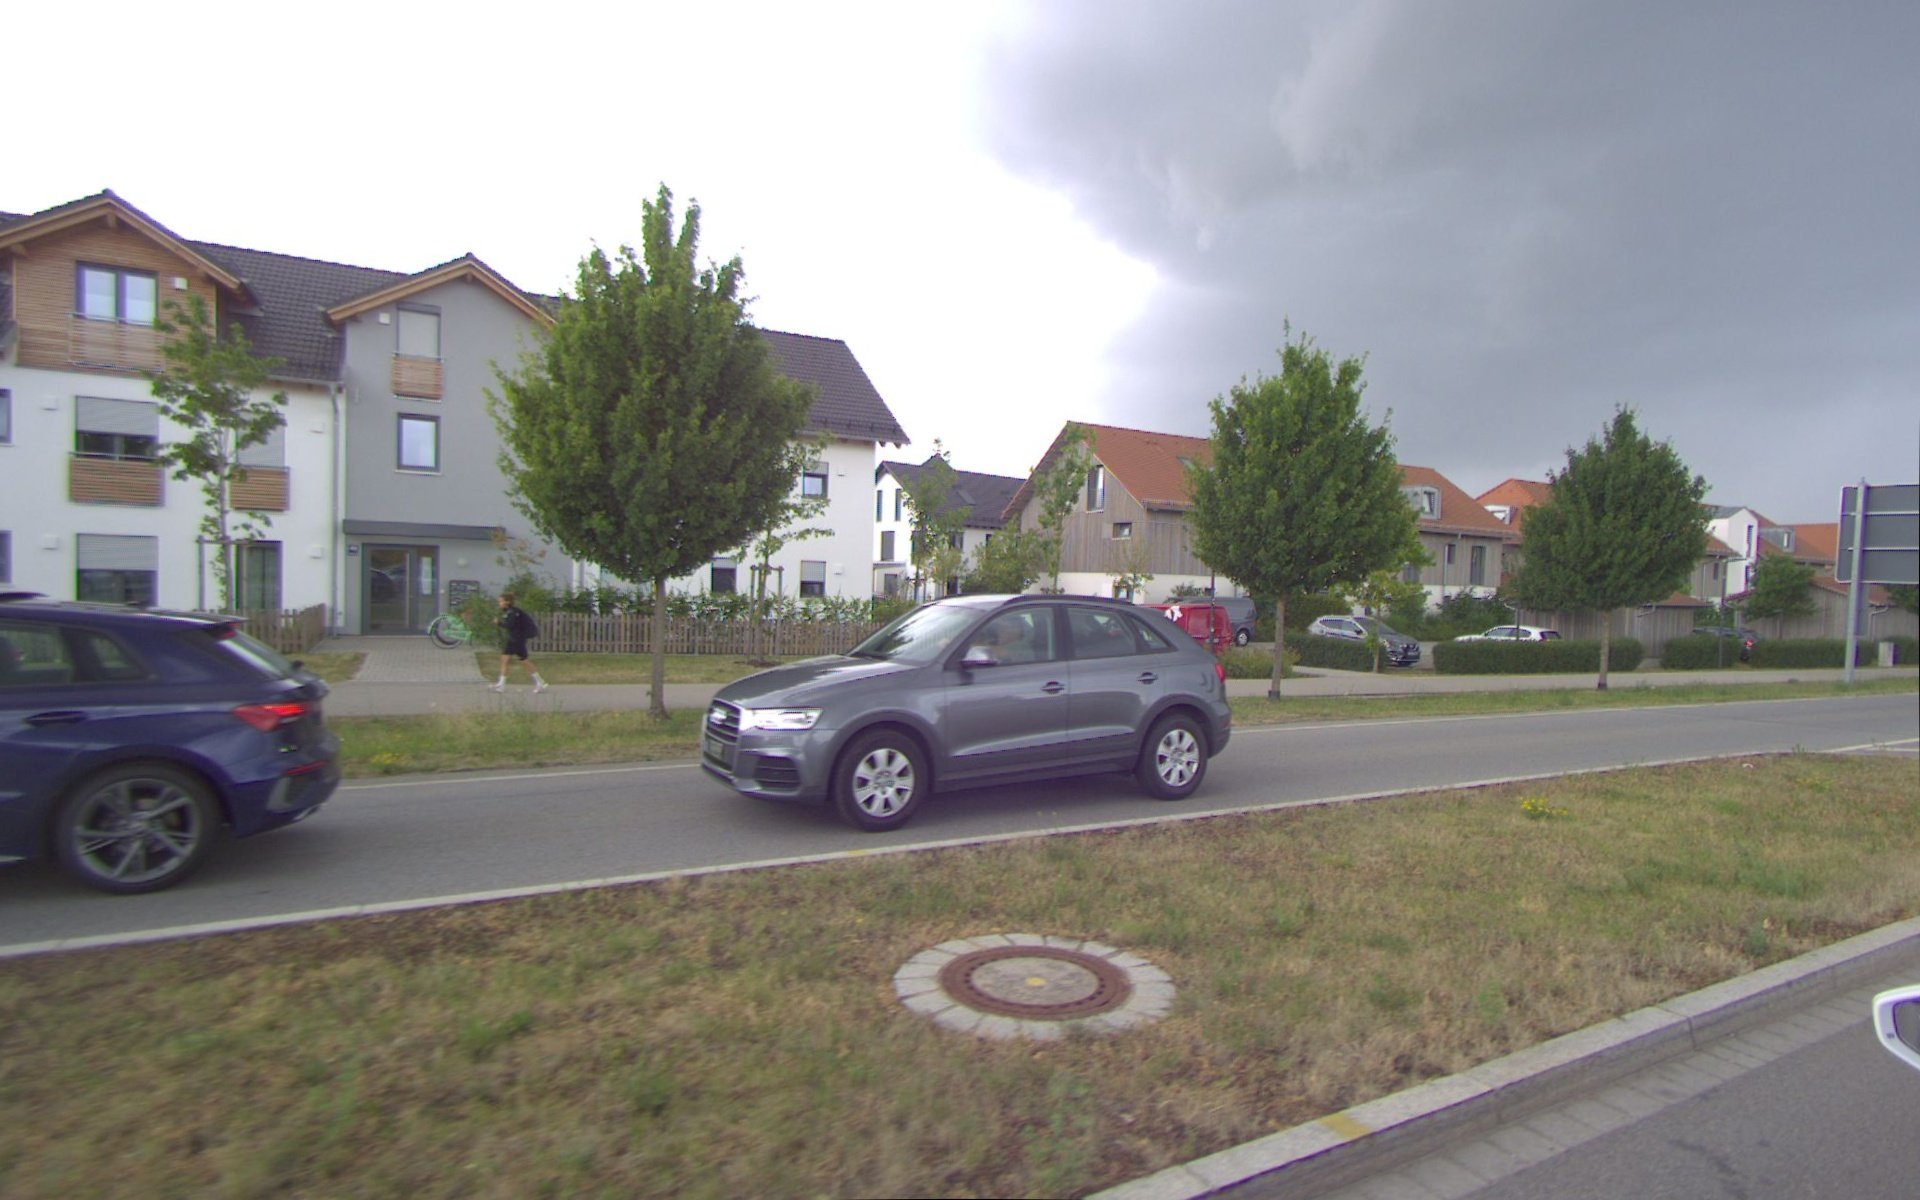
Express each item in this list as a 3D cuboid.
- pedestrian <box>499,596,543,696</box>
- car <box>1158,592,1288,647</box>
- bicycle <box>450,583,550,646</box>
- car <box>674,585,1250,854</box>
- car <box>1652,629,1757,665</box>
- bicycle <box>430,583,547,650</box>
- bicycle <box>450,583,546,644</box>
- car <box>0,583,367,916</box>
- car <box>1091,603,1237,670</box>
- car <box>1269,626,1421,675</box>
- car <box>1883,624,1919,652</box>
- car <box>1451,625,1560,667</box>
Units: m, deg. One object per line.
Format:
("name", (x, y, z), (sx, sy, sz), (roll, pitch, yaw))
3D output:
("pedestrian", (-7.087, 0.730, 16.202), (0.579, 1.550, 0.543), (1, 3, -30))
("car", (10.958, 0.824, 41.720), (5.134, 2.041, 1.985), (1, 4, -28))
("bicycle", (-10.841, 0.343, 23.703), (2.070, 1.436, 0.679), (1, 0, -31))
("car", (0.092, 0.750, 7.849), (4.166, 1.603, 1.817), (1, 0, -30))
("car", (33.809, 2.105, 45.697), (1.545, 1.509, 3.498), (1, 0, -30))
("bicycle", (-10.589, 0.377, 22.598), (2.316, 1.431, 0.679), (1, 0, -31))
("bicycle", (-11.221, 0.339, 24.418), (2.070, 1.447, 0.679), (1, 0, -31))
("car", (-5.451, 0.661, 4.944), (4.299, 1.508, 1.817), (1, 0, -30))
("car", (6.086, 1.033, 30.621), (1.880, 1.840, 4.892), (1, 0, -24))
("car", (13.236, 1.711, 34.877), (1.882, 1.449, 4.885), (1, 0, -28))
("car", (59.674, 2.407, 61.642), (1.975, 1.577, 3.970), (1, 3, -28))
("car", (21.450, 1.778, 39.631), (1.545, 1.509, 3.498), (1, 0, -30))
